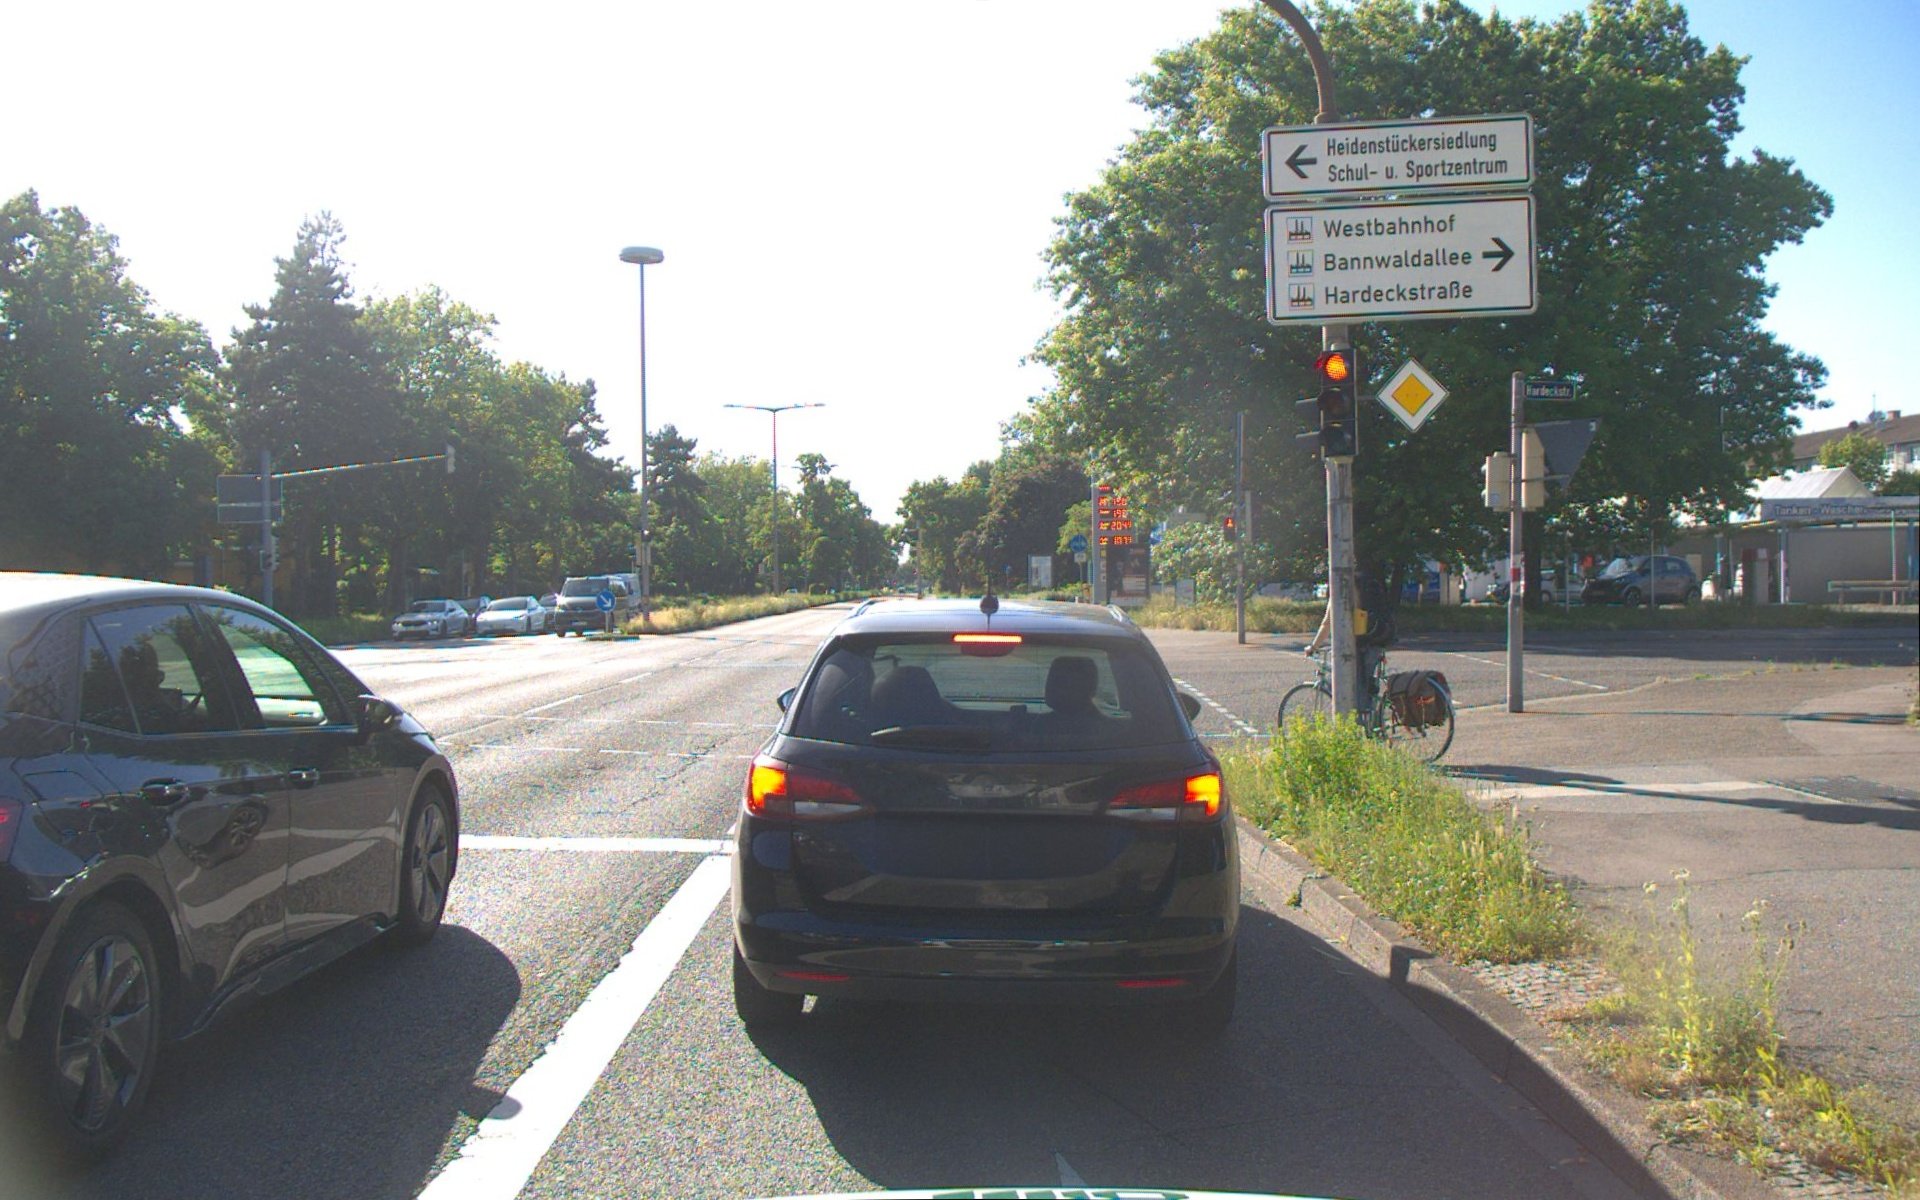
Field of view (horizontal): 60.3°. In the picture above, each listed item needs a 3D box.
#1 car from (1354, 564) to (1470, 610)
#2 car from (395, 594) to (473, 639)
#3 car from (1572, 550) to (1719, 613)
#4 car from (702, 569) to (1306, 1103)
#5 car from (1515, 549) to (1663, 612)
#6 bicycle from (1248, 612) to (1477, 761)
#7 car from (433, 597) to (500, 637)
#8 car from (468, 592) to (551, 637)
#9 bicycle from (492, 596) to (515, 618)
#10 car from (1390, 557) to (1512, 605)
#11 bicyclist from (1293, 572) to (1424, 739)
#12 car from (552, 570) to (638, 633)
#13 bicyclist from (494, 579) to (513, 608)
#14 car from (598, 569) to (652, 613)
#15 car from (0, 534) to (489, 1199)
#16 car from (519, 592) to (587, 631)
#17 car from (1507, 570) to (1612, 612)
[{"bbox_3d":[16.429,-0.472,60.062,3.837,1.544,1.732,-2,0,-24],"label":"car"},{"bbox_3d":[-19.513,0.584,61.500,1.652,1.535,4.003,-1,0,-1],"label":"car"},{"bbox_3d":[19.986,-0.541,48.197,3.934,1.709,1.732,-2,0,-24],"label":"car"},{"bbox_3d":[0.100,0.681,6.838,1.721,1.521,4.206,0,0,-1],"label":"car"},{"bbox_3d":[19.035,-0.586,50.049,3.935,1.780,1.985,-2,0,-24],"label":"car"},{"bbox_3d":[3.224,0.696,13.372,0.533,1.117,1.748,-2,-2,-44],"label":"bicycle"},{"bbox_3d":[-20.229,0.682,67.938,1.652,1.535,4.002,-1,0,-2],"label":"car"},{"bbox_3d":[-16.506,0.508,60.855,1.850,1.551,4.503,-1,0,-1],"label":"car"},{"bbox_3d":[-27.210,0.424,98.609,0.858,1.233,2.533,-2,0,-5],"label":"bicycle"},{"bbox_3d":[16.906,-0.659,56.986,3.837,1.544,1.732,-2,0,-24],"label":"car"},{"bbox_3d":[3.216,0.450,13.374,0.534,1.299,0.816,-2,-2,-44],"label":"bicyclist"},{"bbox_3d":[-12.500,0.026,56.963,1.872,2.027,5.014,-1,0,-1],"label":"car"},{"bbox_3d":[-27.231,-0.371,98.599,0.859,1.677,1.198,-2,0,-6],"label":"bicyclist"},{"bbox_3d":[-20.330,-0.557,100.611,2.057,2.536,6.003,-1,0,-1],"label":"car"},{"bbox_3d":[-3.000,0.655,5.606,1.650,1.608,4.206,0,0,-1],"label":"car"},{"bbox_3d":[-16.419,0.440,66.934,1.652,1.458,4.614,-1,0,-1],"label":"car"},{"bbox_3d":[25.924,-0.402,71.586,3.912,1.709,1.742,-1,0,-8],"label":"car"}]
